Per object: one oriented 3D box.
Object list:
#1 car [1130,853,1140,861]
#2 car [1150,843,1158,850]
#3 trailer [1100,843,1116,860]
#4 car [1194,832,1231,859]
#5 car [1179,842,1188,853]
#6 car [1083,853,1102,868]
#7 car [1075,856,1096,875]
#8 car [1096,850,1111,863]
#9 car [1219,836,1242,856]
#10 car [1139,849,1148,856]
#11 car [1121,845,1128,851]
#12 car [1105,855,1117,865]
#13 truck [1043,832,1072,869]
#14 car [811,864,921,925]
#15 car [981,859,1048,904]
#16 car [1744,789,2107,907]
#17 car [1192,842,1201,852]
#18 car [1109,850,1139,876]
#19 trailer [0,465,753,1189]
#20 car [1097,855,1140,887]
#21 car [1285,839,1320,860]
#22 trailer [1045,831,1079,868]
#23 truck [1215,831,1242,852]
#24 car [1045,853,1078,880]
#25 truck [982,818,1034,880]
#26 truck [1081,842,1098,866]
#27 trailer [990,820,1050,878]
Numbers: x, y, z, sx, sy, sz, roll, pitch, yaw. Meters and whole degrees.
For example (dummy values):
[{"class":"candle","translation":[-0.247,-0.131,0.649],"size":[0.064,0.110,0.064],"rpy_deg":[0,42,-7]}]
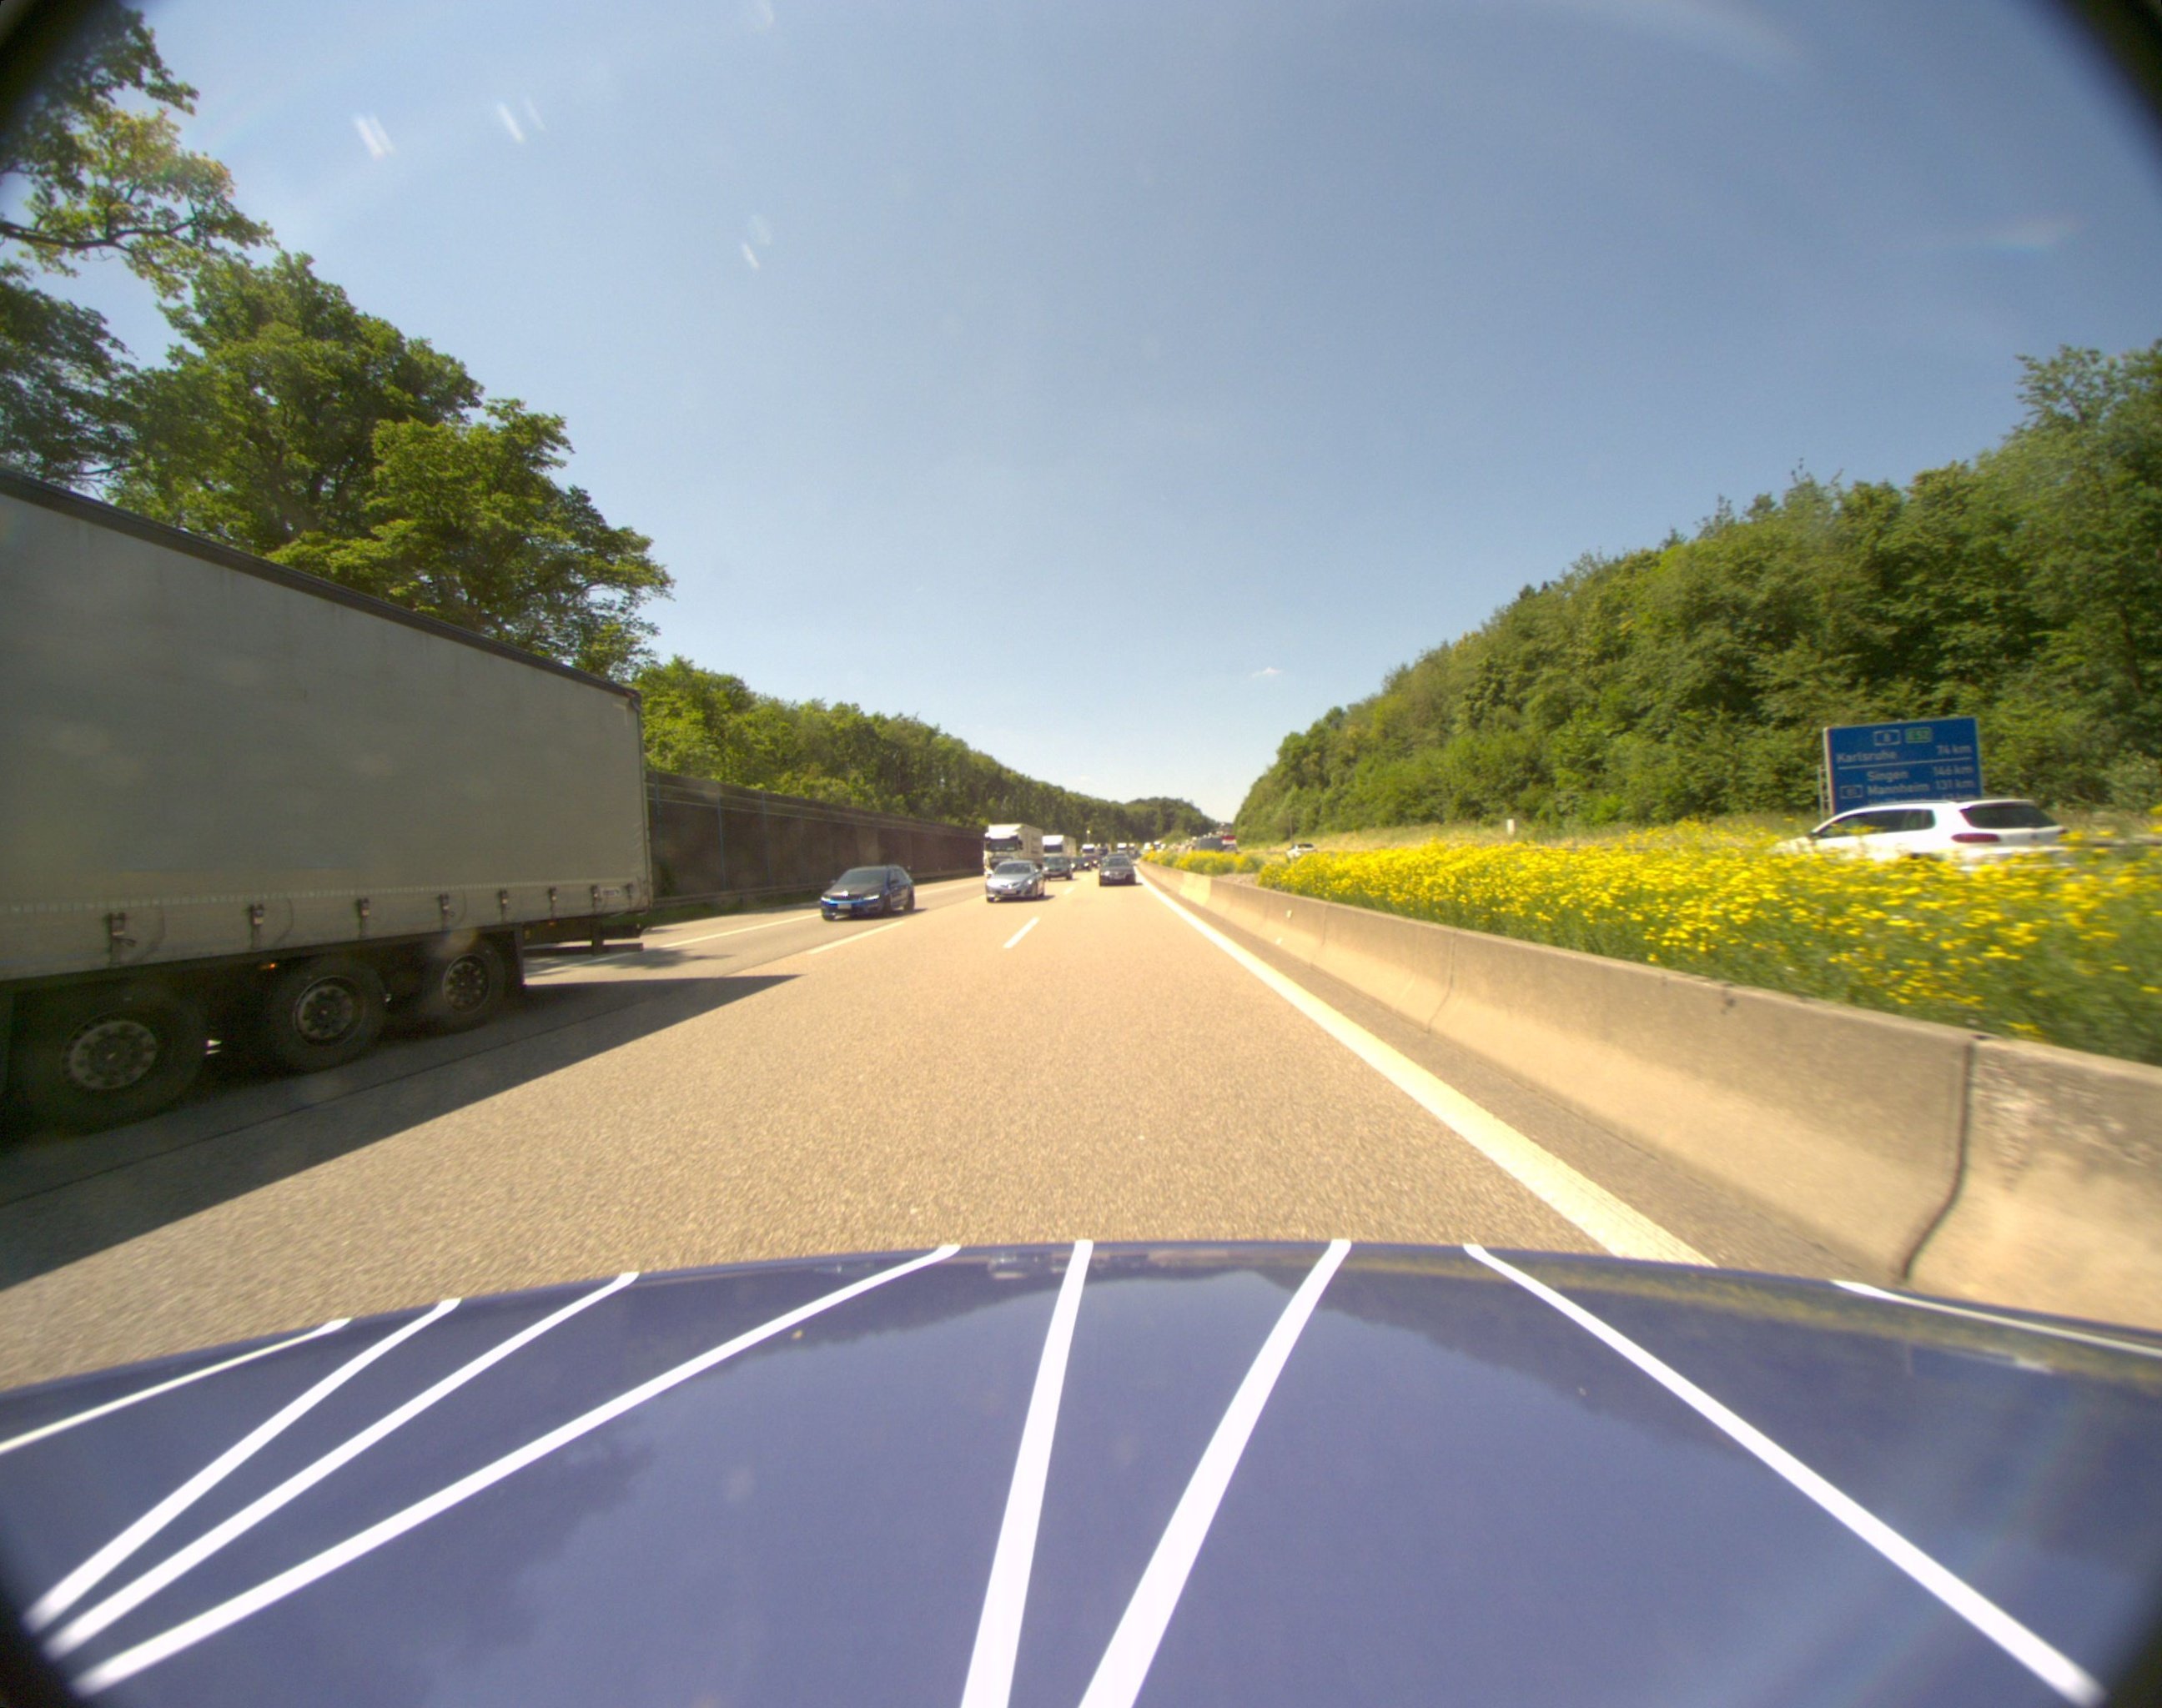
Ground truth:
[{"class":"car","translation":[11.651,0.693,165.341],"size":[1.998,1.641,4.000],"rpy_deg":[-3,0,3]},{"class":"car","translation":[21.451,-2.084,223.263],"size":[1.998,2.002,4.001],"rpy_deg":[-3,0,4]},{"class":"trailer","translation":[6.455,-0.613,182.066],"size":[3.154,4.061,6.185],"rpy_deg":[-3,0,7]},{"class":"car","translation":[10.685,-0.723,62.275],"size":[2.328,2.002,6.184],"rpy_deg":[-2,1,4]},{"class":"car","translation":[25.336,-1.601,187.726],"size":[1.998,2.385,4.001],"rpy_deg":[-3,0,5]},{"class":"car","translation":[1.319,0.726,87.611],"size":[1.998,1.641,4.000],"rpy_deg":[-3,0,3]},{"class":"car","translation":[0.464,1.104,74.380],"size":[1.998,1.641,4.000],"rpy_deg":[-3,0,1]},{"class":"car","translation":[3.157,0.285,105.281],"size":[1.998,1.641,4.000],"rpy_deg":[-3,0,3]},{"class":"car","translation":[21.093,-1.125,107.226],"size":[2.161,2.608,5.976],"rpy_deg":[-2,1,2]},{"class":"car","translation":[16.064,-0.467,195.235],"size":[1.998,1.641,4.000],"rpy_deg":[-3,0,3]},{"class":"car","translation":[13.859,-1.843,240.569],"size":[1.998,1.641,4.000],"rpy_deg":[-3,0,3]},{"class":"car","translation":[5.697,1.133,143.922],"size":[1.998,1.641,4.000],"rpy_deg":[-3,0,3]},{"class":"truck","translation":[-2.707,-0.427,88.698],"size":[2.544,4.150,4.747],"rpy_deg":[-3,0,6]},{"class":"car","translation":[-6.171,1.109,22.335],"size":[1.860,1.485,4.177],"rpy_deg":[-3,0,2]},{"class":"car","translation":[-2.352,0.951,27.938],"size":[1.860,1.426,4.177],"rpy_deg":[-3,0,2]},{"class":"car","translation":[15.038,-0.105,13.994],"size":[1.886,1.755,4.322],"rpy_deg":[-3,0,1]},{"class":"car","translation":[28.648,-1.704,188.527],"size":[1.998,2.385,4.001],"rpy_deg":[-3,0,5]},{"class":"car","translation":[3.049,0.615,54.715],"size":[1.998,1.641,4.000],"rpy_deg":[-2,1,1]},{"class":"trailer","translation":[-7.306,-0.155,6.537],"size":[2.604,4.067,13.590],"rpy_deg":[-2,1,1]},{"class":"car","translation":[1.805,0.805,37.783],"size":[1.907,1.410,4.000],"rpy_deg":[-3,0,1]},{"class":"car","translation":[17.955,-0.370,61.754],"size":[1.780,1.619,4.118],"rpy_deg":[-2,1,2]},{"class":"trailer","translation":[-2.233,-0.568,93.277],"size":[2.541,4.150,10.180],"rpy_deg":[-3,0,6]},{"class":"truck","translation":[29.018,-2.465,150.312],"size":[3.929,3.697,16.747],"rpy_deg":[-2,1,7]},{"class":"car","translation":[-1.237,0.772,49.196],"size":[1.907,1.550,4.000],"rpy_deg":[-3,0,1]},{"class":"truck","translation":[-5.303,-0.353,56.244],"size":[2.811,4.190,5.422],"rpy_deg":[-3,0,4]},{"class":"truck","translation":[1.671,-0.038,148.532],"size":[2.853,4.382,5.240],"rpy_deg":[-3,0,4]},{"class":"trailer","translation":[-4.811,-0.373,63.340],"size":[2.821,4.190,13.467],"rpy_deg":[-3,0,4]}]
